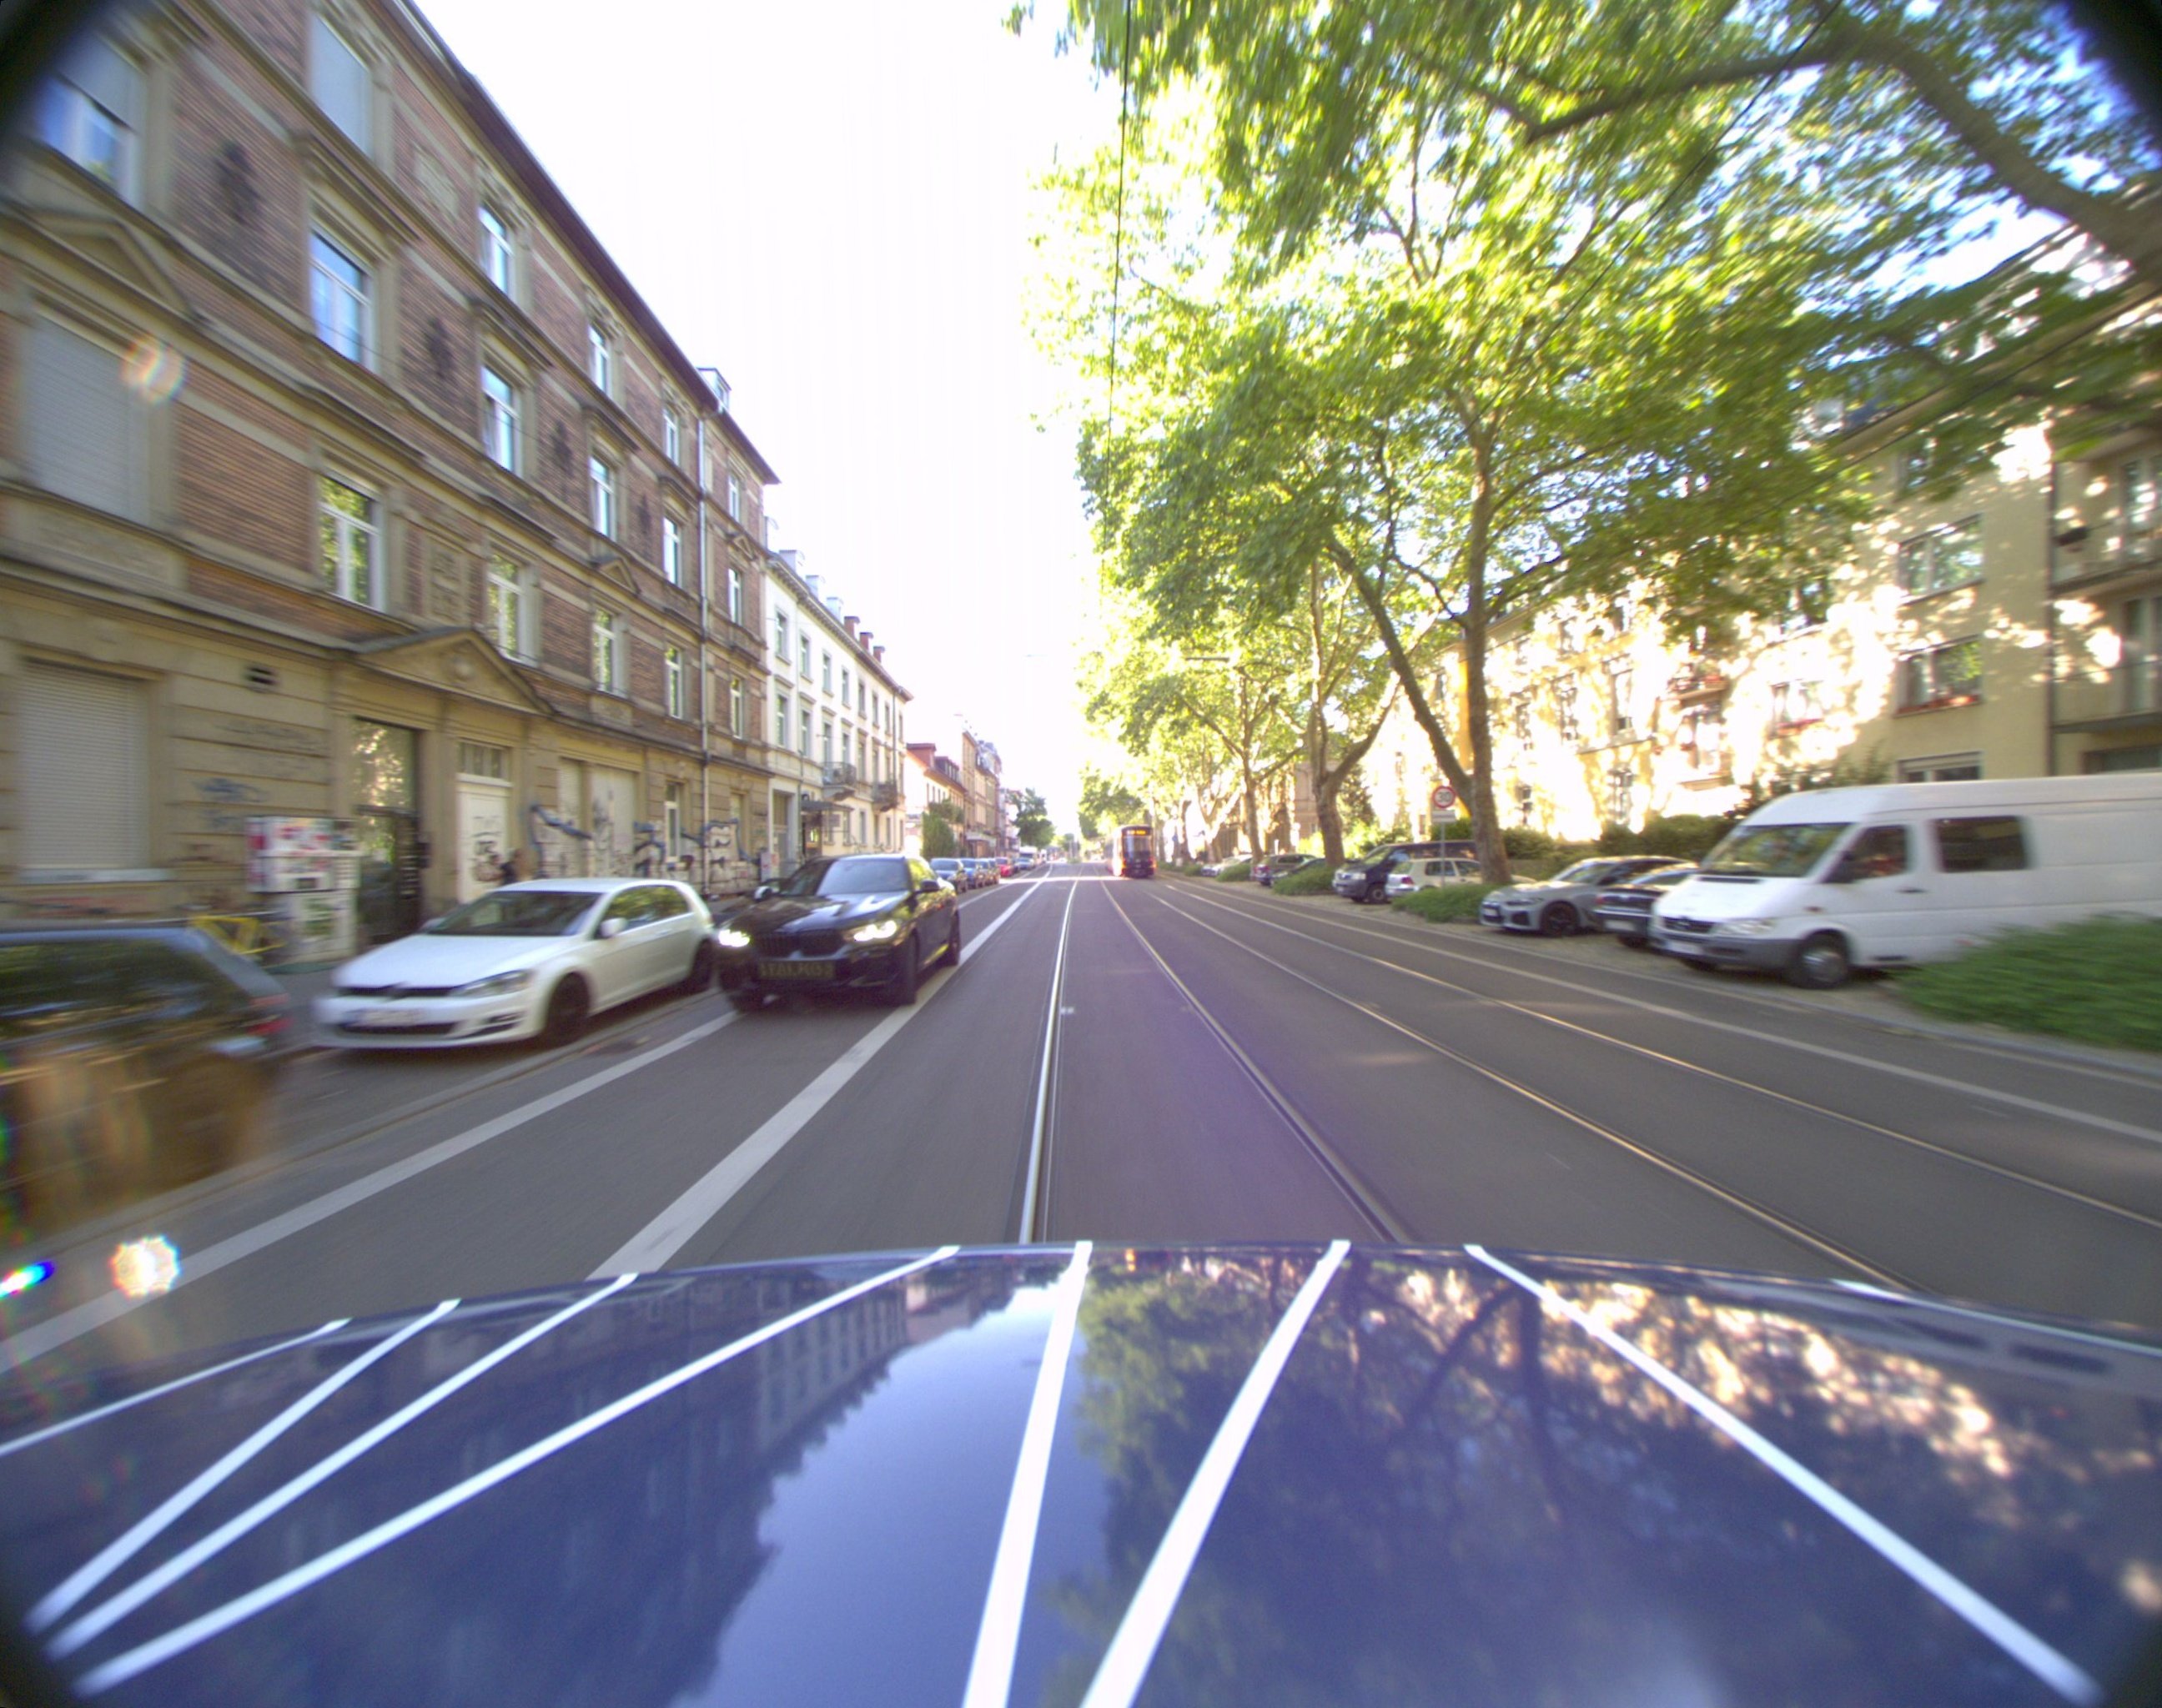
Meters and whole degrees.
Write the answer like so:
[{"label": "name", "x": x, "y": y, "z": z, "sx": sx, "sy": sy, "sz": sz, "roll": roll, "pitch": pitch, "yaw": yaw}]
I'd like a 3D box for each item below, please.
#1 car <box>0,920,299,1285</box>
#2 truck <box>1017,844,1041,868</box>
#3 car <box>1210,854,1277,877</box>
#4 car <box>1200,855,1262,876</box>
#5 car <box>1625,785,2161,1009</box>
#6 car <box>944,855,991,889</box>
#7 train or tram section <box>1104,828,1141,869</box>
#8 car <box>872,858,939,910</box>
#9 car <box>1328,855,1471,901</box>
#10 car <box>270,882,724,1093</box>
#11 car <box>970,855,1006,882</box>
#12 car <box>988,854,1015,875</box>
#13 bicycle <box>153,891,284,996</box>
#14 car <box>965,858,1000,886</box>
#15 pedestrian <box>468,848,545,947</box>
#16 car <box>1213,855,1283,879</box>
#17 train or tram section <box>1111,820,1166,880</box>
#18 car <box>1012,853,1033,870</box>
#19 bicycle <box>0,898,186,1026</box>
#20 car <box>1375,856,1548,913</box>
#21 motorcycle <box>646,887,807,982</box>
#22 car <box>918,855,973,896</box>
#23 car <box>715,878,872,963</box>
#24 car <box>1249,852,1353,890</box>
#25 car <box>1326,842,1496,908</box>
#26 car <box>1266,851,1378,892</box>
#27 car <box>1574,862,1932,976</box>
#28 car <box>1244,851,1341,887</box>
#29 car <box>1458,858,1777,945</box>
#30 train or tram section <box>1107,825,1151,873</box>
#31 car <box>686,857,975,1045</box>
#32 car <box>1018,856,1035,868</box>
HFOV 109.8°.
[{"label": "car", "x": -5.400, "y": 1.130, "z": 2.482, "sx": 1.654, "sy": 1.412, "sz": 4.058, "roll": 1, "pitch": 0, "yaw": -4}, {"label": "truck", "x": -7.090, "y": 0.237, "z": 104.910, "sx": 2.842, "sy": 3.145, "sz": 7.291, "roll": -2, "pitch": 1, "yaw": -1}, {"label": "car", "x": 10.640, "y": 0.760, "z": 49.912, "sx": 3.998, "sy": 1.422, "sz": 1.600, "roll": -1, "pitch": 1, "yaw": -4}, {"label": "car", "x": 10.453, "y": 0.803, "z": 52.912, "sx": 3.998, "sy": 1.367, "sz": 1.411, "roll": -1, "pitch": 1, "yaw": -4}, {"label": "car", "x": 11.057, "y": 0.464, "z": 9.778, "sx": 6.619, "sy": 2.393, "sz": 2.000, "roll": -2, "pitch": 0, "yaw": 0}, {"label": "car", "x": -5.785, "y": 0.879, "z": 39.052, "sx": 1.729, "sy": 1.497, "sz": 3.907, "roll": 4, "pitch": 0, "yaw": 0}, {"label": "train or tram section", "x": 3.964, "y": -0.558, "z": 75.638, "sx": 2.944, "sy": 3.598, "sz": 12.409, "roll": -2, "pitch": 1, "yaw": 0}, {"label": "car", "x": -5.680, "y": 0.941, "z": 24.821, "sx": 1.514, "sy": 1.534, "sz": 2.820, "roll": 1, "pitch": 0, "yaw": 0}, {"label": "car", "x": 11.316, "y": 0.838, "z": 27.143, "sx": 4.366, "sy": 1.399, "sz": 1.658, "roll": -2, "pitch": 0, "yaw": 0}, {"label": "car", "x": -5.421, "y": 1.102, "z": 7.835, "sx": 1.606, "sy": 1.412, "sz": 4.012, "roll": 1, "pitch": 0, "yaw": -1}, {"label": "car", "x": -5.821, "y": 0.890, "z": 47.901, "sx": 1.729, "sy": 1.559, "sz": 3.686, "roll": 1, "pitch": 0, "yaw": 0}, {"label": "car", "x": -6.167, "y": 0.816, "z": 59.434, "sx": 1.702, "sy": 1.559, "sz": 3.686, "roll": 1, "pitch": 0, "yaw": 0}, {"label": "bicycle", "x": -10.513, "y": 1.061, "z": 9.303, "sx": 0.274, "sy": 1.147, "sz": 1.139, "roll": 0, "pitch": 0, "yaw": 1}, {"label": "car", "x": -5.640, "y": 0.987, "z": 43.886, "sx": 1.542, "sy": 1.497, "sz": 3.359, "roll": 1, "pitch": 0, "yaw": 0}, {"label": "pedestrian", "x": -9.868, "y": 0.732, "z": 13.084, "sx": 0.716, "sy": 1.647, "sz": 0.766, "roll": -1, "pitch": 1, "yaw": -2}, {"label": "car", "x": 10.364, "y": 0.812, "z": 47.258, "sx": 3.998, "sy": 1.422, "sz": 1.527, "roll": -1, "pitch": 1, "yaw": -4}, {"label": "train or tram section", "x": 3.764, "y": -0.319, "z": 52.633, "sx": 2.944, "sy": 3.598, "sz": 11.061, "roll": -2, "pitch": 1, "yaw": 0}, {"label": "car", "x": -5.452, "y": 0.700, "z": 71.067, "sx": 1.702, "sy": 1.559, "sz": 3.686, "roll": 1, "pitch": 0, "yaw": 0}, {"label": "bicycle", "x": -10.457, "y": 1.081, "z": 8.008, "sx": 0.379, "sy": 1.147, "sz": 1.372, "roll": 0, "pitch": 0, "yaw": 1}, {"label": "car", "x": 11.002, "y": 0.869, "z": 22.151, "sx": 4.068, "sy": 1.437, "sz": 1.869, "roll": -2, "pitch": 0, "yaw": 0}, {"label": "motorcycle", "x": -5.356, "y": 1.192, "z": 11.610, "sx": 2.143, "sy": 1.281, "sz": 0.642, "roll": -1, "pitch": 1, "yaw": -22}, {"label": "car", "x": -5.756, "y": 0.870, "z": 32.699, "sx": 1.635, "sy": 1.497, "sz": 3.906, "roll": 4, "pitch": 0, "yaw": -1}, {"label": "car", "x": -5.383, "y": 1.187, "z": 14.729, "sx": 1.653, "sy": 1.265, "sz": 3.724, "roll": 1, "pitch": 0, "yaw": -1}, {"label": "car", "x": 10.507, "y": 0.796, "z": 36.516, "sx": 4.366, "sy": 1.603, "sz": 2.000, "roll": -2, "pitch": 0, "yaw": 0}, {"label": "car", "x": 10.671, "y": 0.667, "z": 24.779, "sx": 4.639, "sy": 1.896, "sz": 1.922, "roll": -2, "pitch": 0, "yaw": -2}, {"label": "car", "x": 10.750, "y": 0.766, "z": 34.109, "sx": 4.366, "sy": 1.603, "sz": 2.000, "roll": -2, "pitch": 0, "yaw": 0}, {"label": "car", "x": 10.674, "y": 0.968, "z": 12.293, "sx": 4.156, "sy": 1.489, "sz": 1.904, "roll": -2, "pitch": 1, "yaw": -2}, {"label": "car", "x": 10.756, "y": 0.758, "z": 38.937, "sx": 4.366, "sy": 1.603, "sz": 2.000, "roll": -2, "pitch": 0, "yaw": 0}, {"label": "car", "x": 10.545, "y": 0.900, "z": 15.212, "sx": 4.944, "sy": 1.437, "sz": 2.000, "roll": -2, "pitch": 0, "yaw": 0}, {"label": "train or tram section", "x": 3.860, "y": -0.431, "z": 63.799, "sx": 2.944, "sy": 3.598, "sz": 11.257, "roll": -2, "pitch": 1, "yaw": 0}, {"label": "car", "x": -2.724, "y": 0.942, "z": 9.581, "sx": 1.949, "sy": 1.694, "sz": 4.630, "roll": -2, "pitch": 0, "yaw": 1}, {"label": "car", "x": -6.459, "y": 0.931, "z": 89.852, "sx": 1.702, "sy": 1.324, "sz": 3.686, "roll": 1, "pitch": 0, "yaw": 0}]
